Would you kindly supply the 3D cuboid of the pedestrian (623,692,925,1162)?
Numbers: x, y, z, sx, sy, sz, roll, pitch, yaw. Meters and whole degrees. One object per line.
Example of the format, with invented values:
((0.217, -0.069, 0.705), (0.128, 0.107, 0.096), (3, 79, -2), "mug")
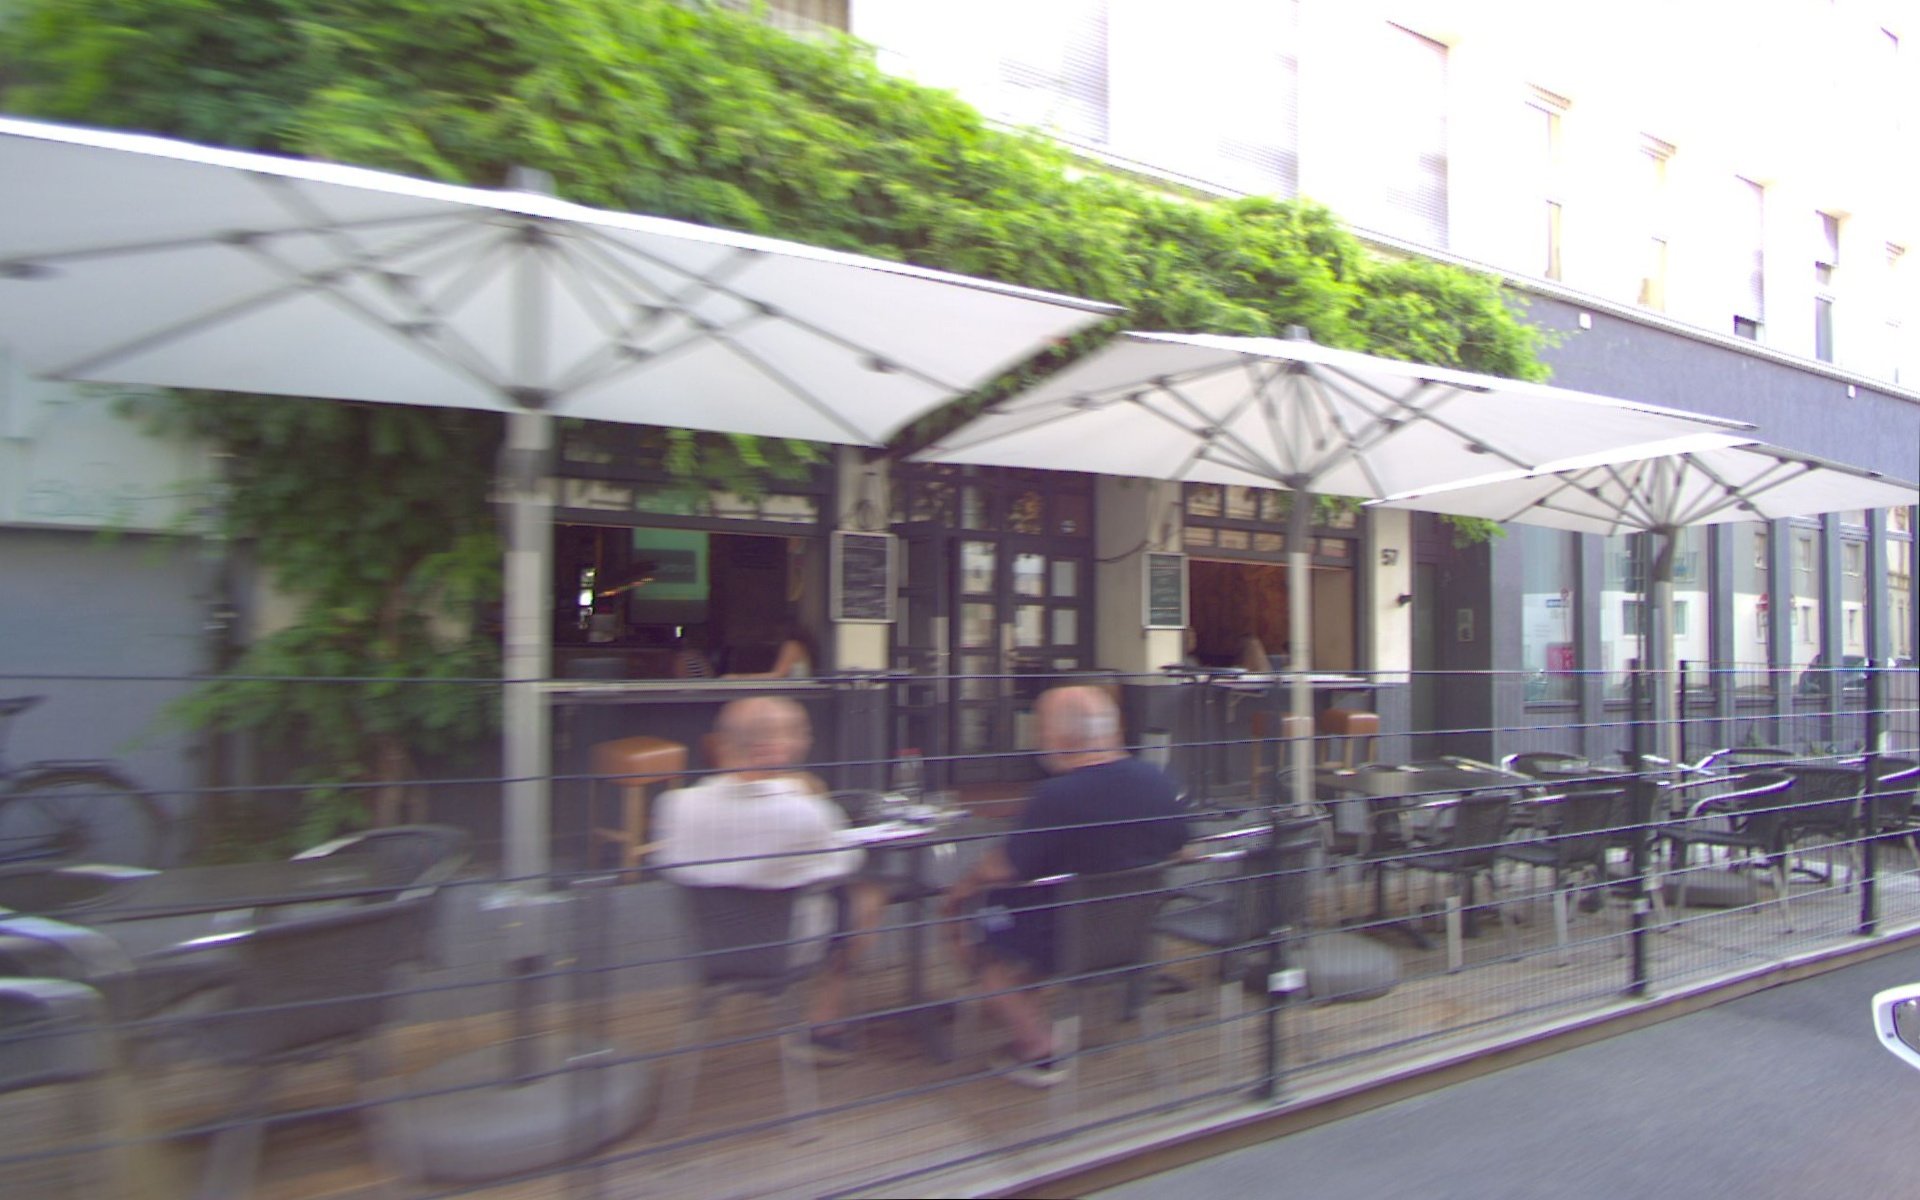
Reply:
((-0.502, 0.879, 2.931), (0.726, 1.181, 0.554), (0, -2, 5), "pedestrian")

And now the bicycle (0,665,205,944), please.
((-4.548, 0.889, 4.472), (1.771, 1.175, 0.641), (2, -2, -27), "bicycle")

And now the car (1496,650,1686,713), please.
((17.505, 2.213, 28.080), (1.989, 1.544, 4.090), (2, -2, -27), "car")

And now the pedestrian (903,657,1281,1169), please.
((0.394, 0.839, 3.167), (0.904, 1.304, 0.778), (2, -2, -27), "pedestrian")

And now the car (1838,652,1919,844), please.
((9.064, 1.184, 8.199), (3.835, 1.432, 1.651), (3, -3, -29), "car")
